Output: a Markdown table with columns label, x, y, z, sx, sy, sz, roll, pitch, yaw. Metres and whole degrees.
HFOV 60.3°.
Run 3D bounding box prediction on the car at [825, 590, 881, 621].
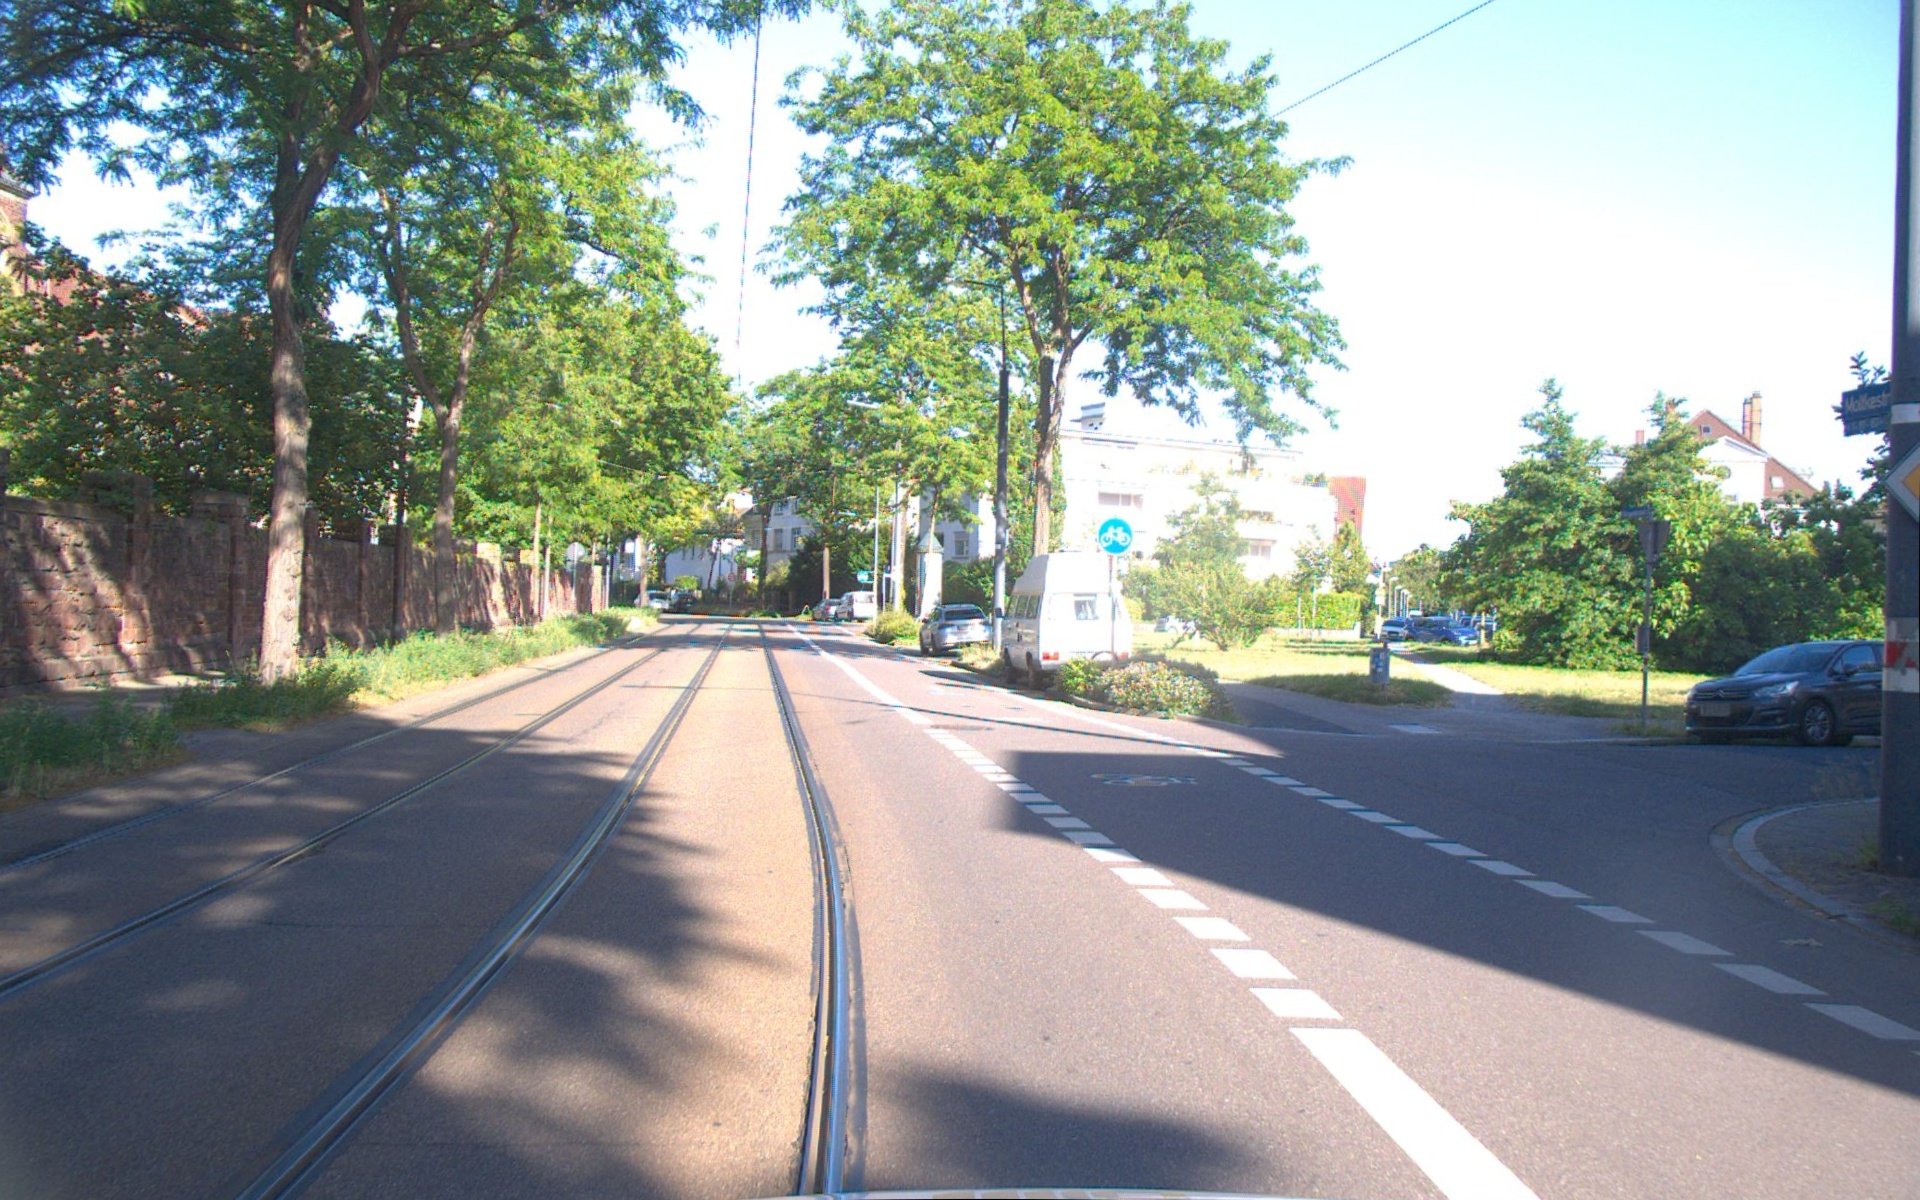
| label | x | y | z | sx | sy | sz | roll | pitch | yaw |
| --- | --- | --- | --- | --- | --- | --- | --- | --- | --- |
| car | -6.505 | 0.336 | 100.087 | 1.995 | 1.777 | 4.719 | 1 | 0 | -22 |

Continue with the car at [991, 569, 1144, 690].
| label | x | y | z | sx | sy | sz | roll | pitch | yaw |
| --- | --- | --- | --- | --- | --- | --- | --- | --- | --- |
| car | 1.978 | 0.523 | 32.024 | 1.957 | 2.132 | 4.707 | 1 | 0 | -9 |

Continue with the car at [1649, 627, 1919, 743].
| label | x | y | z | sx | sy | sz | roll | pitch | yaw |
| --- | --- | --- | --- | --- | --- | --- | --- | --- | --- |
| car | 12.146 | 1.202 | 23.432 | 4.393 | 1.516 | 1.992 | 1 | -4 | -26 |

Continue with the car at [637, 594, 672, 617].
| label | x | y | z | sx | sy | sz | roll | pitch | yaw |
| --- | --- | --- | --- | --- | --- | --- | --- | --- | --- |
| car | -23.543 | 0.462 | 127.353 | 1.866 | 1.639 | 4.201 | 2 | -2 | -21 |

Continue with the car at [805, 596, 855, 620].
| label | x | y | z | sx | sy | sz | roll | pitch | yaw |
| --- | --- | --- | --- | --- | --- | --- | --- | --- | --- |
| car | -8.336 | 0.516 | 105.776 | 1.967 | 1.448 | 4.301 | 1 | -1 | -23 |

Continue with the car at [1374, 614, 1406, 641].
| label | x | y | z | sx | sy | sz | roll | pitch | yaw |
| --- | --- | --- | --- | --- | --- | --- | --- | --- | --- |
| car | 29.210 | 1.857 | 112.216 | 2.002 | 1.738 | 4.291 | 2 | 0 | 15 |

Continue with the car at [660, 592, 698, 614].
| label | x | y | z | sx | sy | sz | roll | pitch | yaw |
| --- | --- | --- | --- | --- | --- | --- | --- | --- | --- |
| car | -23.145 | 0.231 | 136.008 | 1.783 | 1.723 | 4.689 | -2 | 1 | -26 |

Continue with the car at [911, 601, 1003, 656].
| label | x | y | z | sx | sy | sz | roll | pitch | yaw |
| --- | --- | --- | --- | --- | --- | --- | --- | --- | --- |
| car | -0.170 | 0.819 | 50.194 | 1.964 | 1.491 | 5.422 | -2 | 0 | -9 |

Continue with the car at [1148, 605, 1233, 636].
| label | x | y | z | sx | sy | sz | roll | pitch | yaw |
| --- | --- | --- | --- | --- | --- | --- | --- | --- | --- |
| car | 12.415 | 1.110 | 89.137 | 4.216 | 1.537 | 1.829 | 2 | -3 | -20 |

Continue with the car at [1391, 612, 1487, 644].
| label | x | y | z | sx | sy | sz | roll | pitch | yaw |
| --- | --- | --- | --- | --- | --- | --- | --- | --- | --- |
| car | 24.142 | 1.386 | 83.464 | 2.033 | 1.496 | 4.716 | 2 | 0 | -26 |
